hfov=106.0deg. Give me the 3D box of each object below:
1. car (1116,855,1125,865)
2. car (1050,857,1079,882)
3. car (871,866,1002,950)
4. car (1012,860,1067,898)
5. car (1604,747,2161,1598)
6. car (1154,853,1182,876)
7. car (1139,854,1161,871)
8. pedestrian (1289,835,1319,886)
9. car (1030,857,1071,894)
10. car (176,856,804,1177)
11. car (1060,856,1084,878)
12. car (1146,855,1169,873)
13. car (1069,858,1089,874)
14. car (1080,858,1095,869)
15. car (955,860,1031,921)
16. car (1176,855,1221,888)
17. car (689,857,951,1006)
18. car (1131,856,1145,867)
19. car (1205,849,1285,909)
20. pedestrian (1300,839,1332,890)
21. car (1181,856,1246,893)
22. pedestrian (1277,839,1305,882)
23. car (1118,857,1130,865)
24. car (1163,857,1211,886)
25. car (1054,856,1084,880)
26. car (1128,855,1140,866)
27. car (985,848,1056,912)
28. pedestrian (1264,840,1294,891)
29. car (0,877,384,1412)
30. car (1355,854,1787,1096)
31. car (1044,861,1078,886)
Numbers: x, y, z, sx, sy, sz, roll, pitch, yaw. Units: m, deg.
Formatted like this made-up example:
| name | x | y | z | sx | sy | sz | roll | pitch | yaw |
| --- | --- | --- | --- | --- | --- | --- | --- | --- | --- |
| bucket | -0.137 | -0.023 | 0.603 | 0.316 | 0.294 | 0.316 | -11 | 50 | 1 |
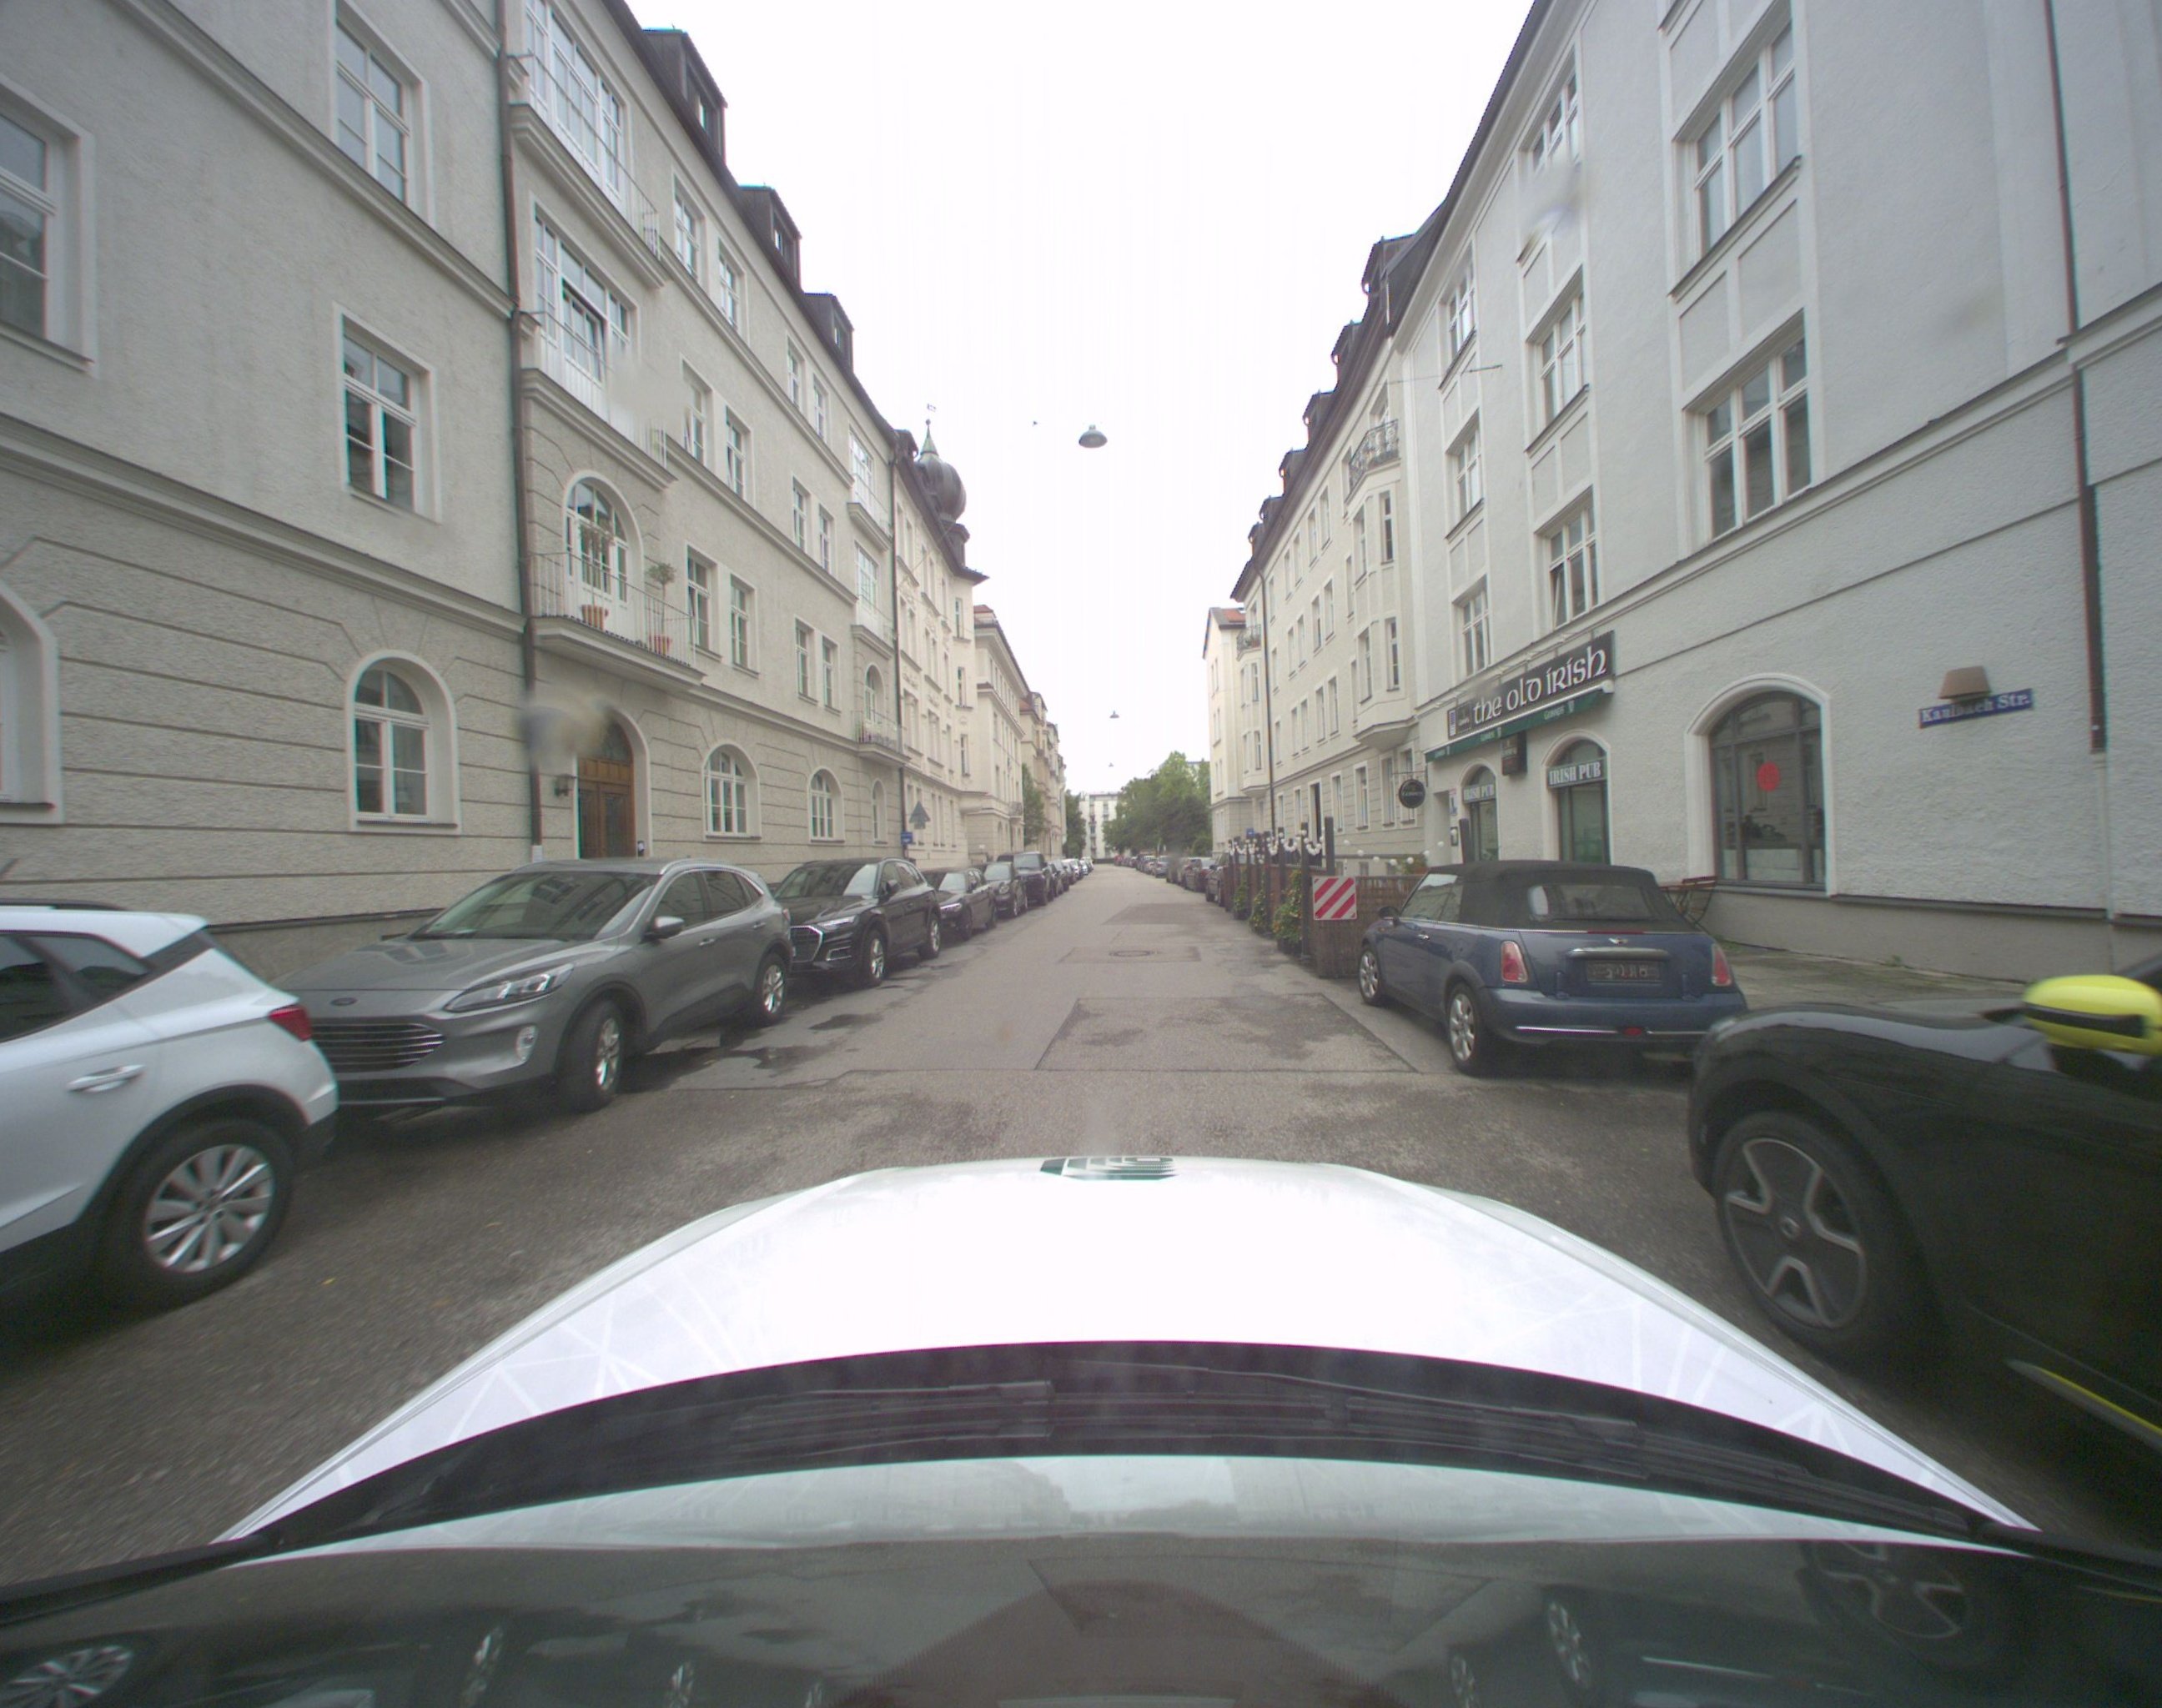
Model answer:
| name | x | y | z | sx | sy | sz | roll | pitch | yaw |
| --- | --- | --- | --- | --- | --- | --- | --- | --- | --- |
| car | 8.031 | 1.180 | 164.765 | 1.828 | 1.927 | 4.009 | 0 | 0 | 4 |
| car | -1.150 | 1.047 | 56.259 | 1.778 | 1.541 | 4.254 | -4 | 0 | -2 |
| car | -2.904 | 1.044 | 17.233 | 1.647 | 1.407 | 4.097 | -4 | 0 | 5 |
| car | -1.706 | 1.031 | 35.074 | 1.829 | 1.394 | 4.248 | -4 | 0 | 3 |
| car | 2.957 | 0.611 | 1.301 | 1.828 | 1.618 | 4.099 | 0 | 0 | 4 |
| car | 6.293 | 0.753 | 59.268 | 1.814 | 1.569 | 4.405 | 0 | 0 | 4 |
| car | 6.960 | 0.870 | 82.538 | 1.745 | 1.610 | 4.421 | -1 | 0 | -2 |
| pedestrian | 9.061 | 0.275 | 33.174 | 0.879 | 2.013 | 1.112 | -2 | 0 | 3 |
| car | -1.447 | 1.031 | 40.211 | 1.721 | 1.618 | 4.121 | -4 | 0 | 0 |
| car | -3.967 | 0.896 | 6.575 | 1.829 | 1.677 | 4.215 | -2 | 0 | 2 |
| car | -0.704 | 1.025 | 66.844 | 1.830 | 1.618 | 4.246 | -2 | 0 | 1 |
| car | 6.569 | 0.838 | 70.214 | 1.777 | 1.504 | 4.066 | -1 | 0 | 2 |
| car | -0.177 | 1.187 | 82.212 | 1.830 | 1.434 | 4.244 | -4 | 0 | 0 |
| car | 0.979 | 1.385 | 117.790 | 1.829 | 1.438 | 4.277 | -5 | 0 | 2 |
| car | -2.430 | 0.972 | 23.264 | 1.610 | 1.513 | 3.533 | -3 | 0 | 2 |
| car | 5.718 | 0.827 | 40.178 | 1.753 | 1.485 | 4.423 | 0 | 0 | 2 |
| car | -3.334 | 0.889 | 11.473 | 1.867 | 1.599 | 4.440 | -2 | 0 | 5 |
| car | 8.092 | 1.059 | 115.310 | 1.831 | 1.413 | 4.344 | -1 | -1 | 2 |
| car | 4.872 | 0.683 | 24.662 | 1.792 | 1.675 | 4.192 | 0 | 0 | 3 |
| pedestrian | 8.501 | 0.382 | 29.488 | 0.878 | 1.786 | 1.113 | -2 | 0 | 8 |
| car | 5.515 | 0.811 | 34.509 | 1.831 | 1.399 | 4.970 | -1 | 0 | -2 |
| pedestrian | 9.083 | 0.281 | 35.279 | 0.879 | 1.813 | 1.112 | -2 | 0 | 3 |
| car | 8.146 | 1.274 | 153.945 | 1.834 | 1.519 | 3.944 | -1 | -1 | -2 |
| car | 5.821 | 0.921 | 45.130 | 1.987 | 1.457 | 4.711 | -3 | 0 | 0 |
| car | -0.881 | 1.035 | 61.446 | 1.907 | 1.618 | 4.574 | -2 | 0 | 2 |
| car | 8.195 | 1.023 | 125.227 | 1.509 | 1.661 | 3.672 | -1 | -1 | -1 |
| car | -1.988 | 0.825 | 28.204 | 1.829 | 1.894 | 4.765 | -4 | 0 | 2 |
| pedestrian | 7.275 | 0.404 | 29.967 | 0.878 | 1.811 | 1.113 | -2 | 0 | 6 |
| car | -4.066 | 0.896 | 1.774 | 1.689 | 1.568 | 3.949 | -2 | -1 | -1 |
| car | 3.491 | 0.711 | 6.595 | 1.658 | 1.400 | 3.498 | 0 | 0 | 5 |
| car | -1.235 | 1.206 | 51.561 | 1.786 | 1.415 | 4.280 | -5 | -1 | 2 |
